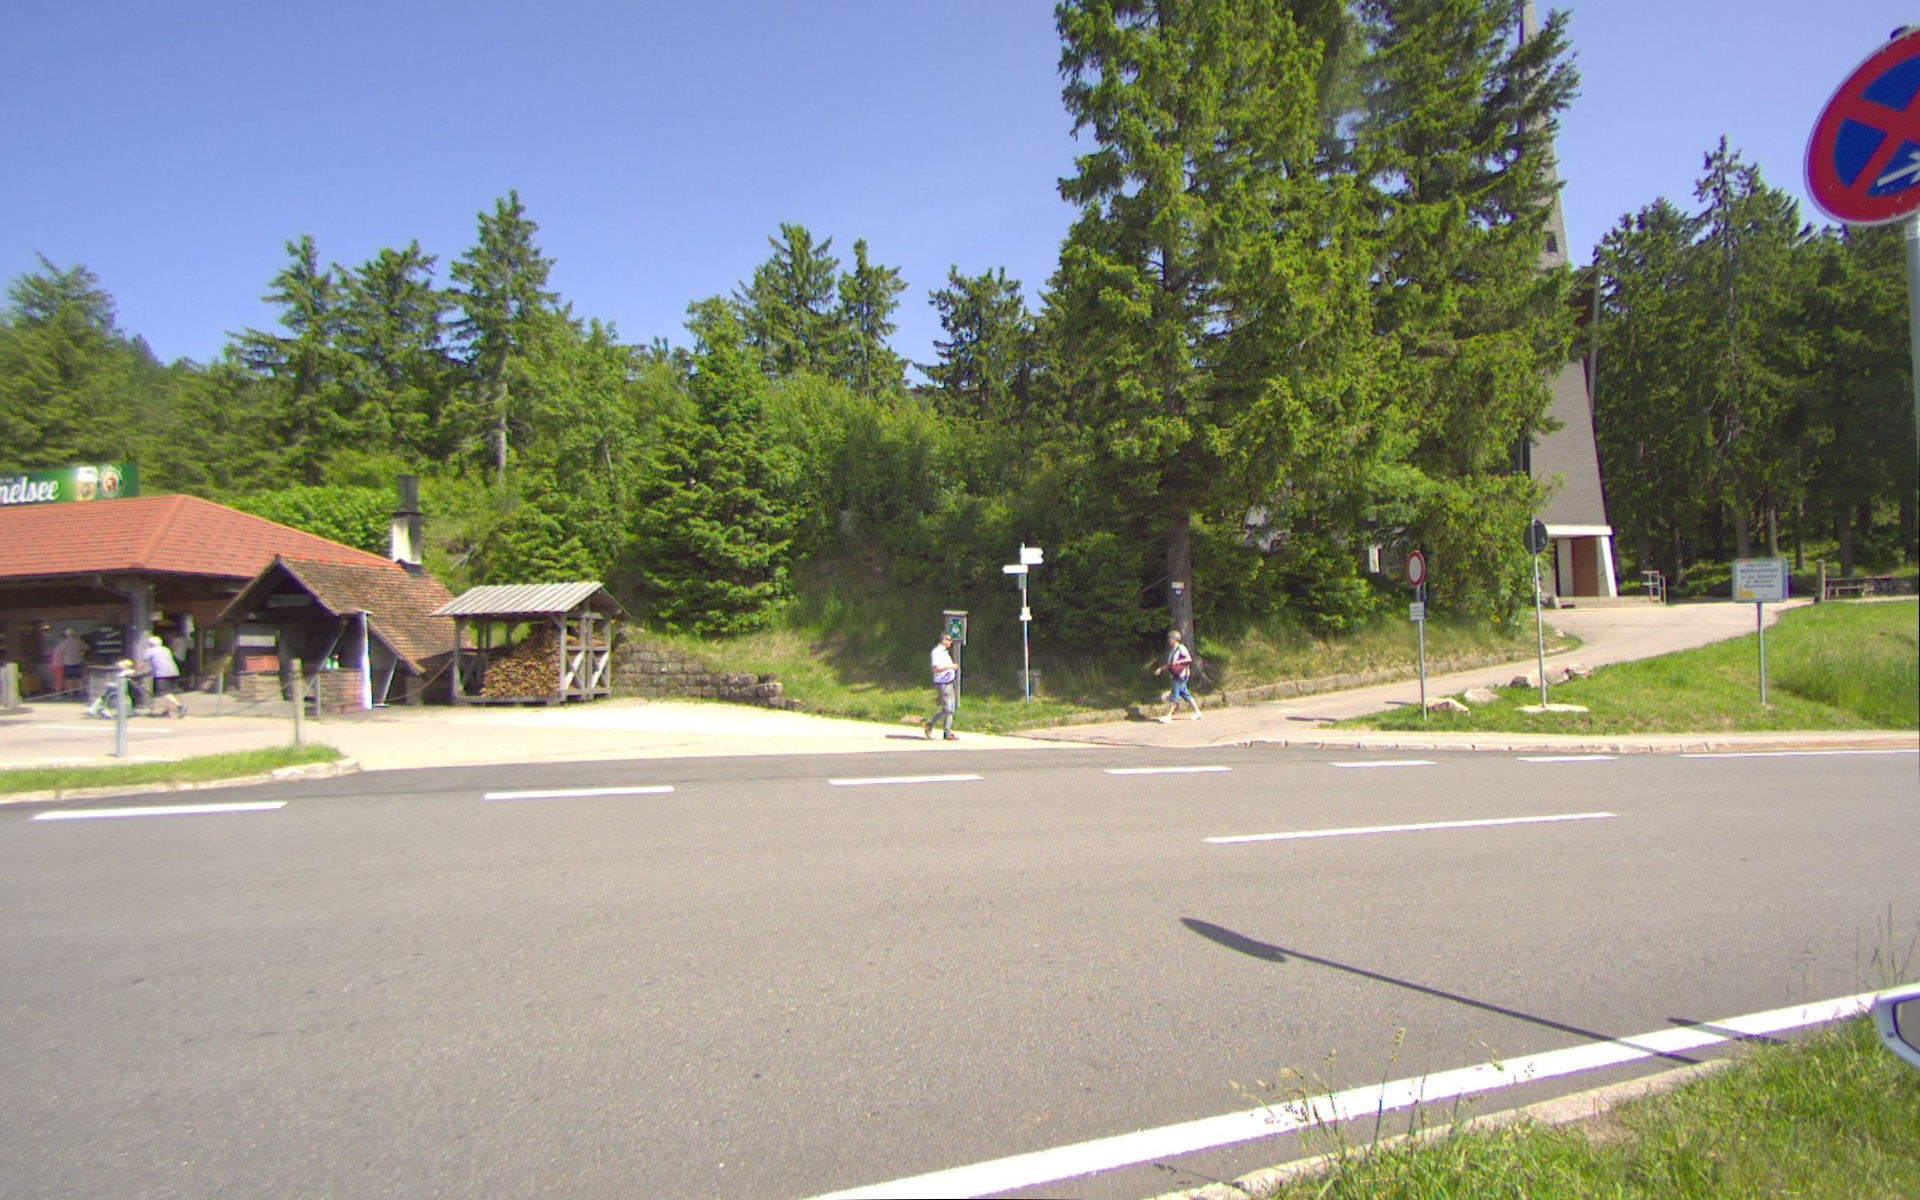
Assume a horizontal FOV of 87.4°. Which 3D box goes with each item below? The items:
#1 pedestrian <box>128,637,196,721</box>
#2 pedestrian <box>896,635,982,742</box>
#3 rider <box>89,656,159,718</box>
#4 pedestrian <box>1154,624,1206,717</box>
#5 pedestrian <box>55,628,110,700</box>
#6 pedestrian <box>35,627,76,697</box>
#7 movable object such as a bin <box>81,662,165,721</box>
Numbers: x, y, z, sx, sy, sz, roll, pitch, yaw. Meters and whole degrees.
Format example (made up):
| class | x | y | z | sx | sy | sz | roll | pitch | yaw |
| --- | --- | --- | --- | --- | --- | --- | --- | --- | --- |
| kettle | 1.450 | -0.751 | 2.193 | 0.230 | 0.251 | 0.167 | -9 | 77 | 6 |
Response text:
| class | x | y | z | sx | sy | sz | roll | pitch | yaw |
| --- | --- | --- | --- | --- | --- | --- | --- | --- | --- |
| pedestrian | -16.880 | 1.655 | 21.255 | 0.789 | 1.721 | 0.838 | -1 | -3 | 28 |
| pedestrian | -0.339 | 1.452 | 16.776 | 1.140 | 1.720 | 0.979 | -1 | -3 | 21 |
| rider | -17.892 | 1.841 | 21.513 | 0.892 | 1.291 | 0.838 | -1 | -3 | 28 |
| pedestrian | 4.131 | 1.326 | 18.902 | 0.673 | 1.703 | 0.718 | 1 | -3 | -24 |
| pedestrian | -22.037 | 1.597 | 25.224 | 0.789 | 1.759 | 0.748 | -1 | -3 | 28 |
| pedestrian | -22.882 | 1.563 | 25.414 | 0.548 | 1.759 | 0.668 | 2 | -3 | -28 |
| movable object such as a bin | -17.960 | 1.944 | 21.558 | 1.194 | 1.204 | 0.983 | -1 | -3 | 28 |
